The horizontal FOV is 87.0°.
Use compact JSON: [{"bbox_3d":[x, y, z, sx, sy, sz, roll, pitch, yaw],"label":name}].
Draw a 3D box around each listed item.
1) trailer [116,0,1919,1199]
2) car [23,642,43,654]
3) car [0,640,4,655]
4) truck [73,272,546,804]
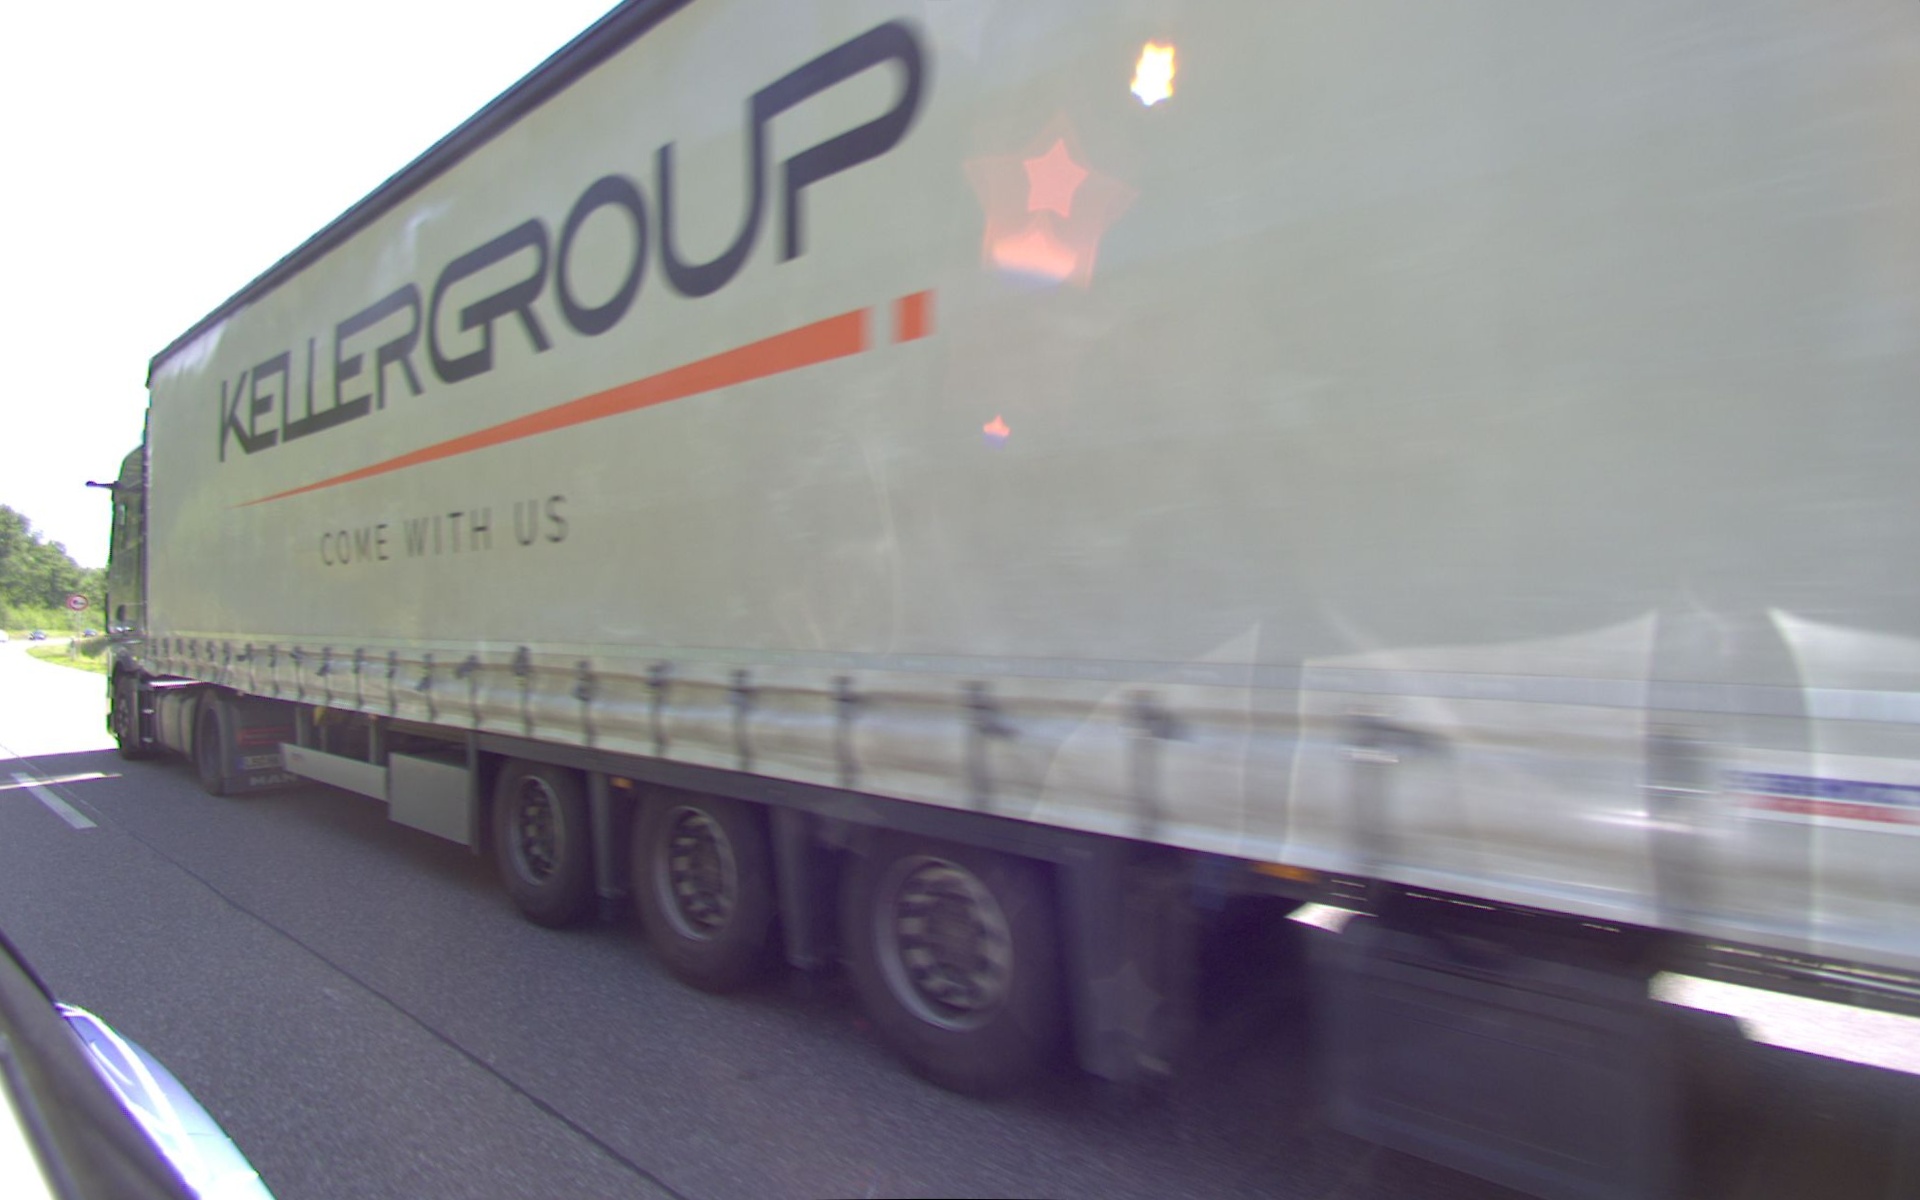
[{"bbox_3d":[-2.179,-0.615,6.601,13.611,4.285,2.911,-2,-2,41],"label":"trailer"},{"bbox_3d":[-141.740,7.373,154.770,1.666,1.741,4.010,1,-2,-35],"label":"car"},{"bbox_3d":[-120.333,5.903,125.582,1.987,1.761,4.390,1,-2,-37],"label":"car"},{"bbox_3d":[-7.164,-0.433,10.933,5.339,4.248,2.892,-2,-2,41],"label":"truck"}]
